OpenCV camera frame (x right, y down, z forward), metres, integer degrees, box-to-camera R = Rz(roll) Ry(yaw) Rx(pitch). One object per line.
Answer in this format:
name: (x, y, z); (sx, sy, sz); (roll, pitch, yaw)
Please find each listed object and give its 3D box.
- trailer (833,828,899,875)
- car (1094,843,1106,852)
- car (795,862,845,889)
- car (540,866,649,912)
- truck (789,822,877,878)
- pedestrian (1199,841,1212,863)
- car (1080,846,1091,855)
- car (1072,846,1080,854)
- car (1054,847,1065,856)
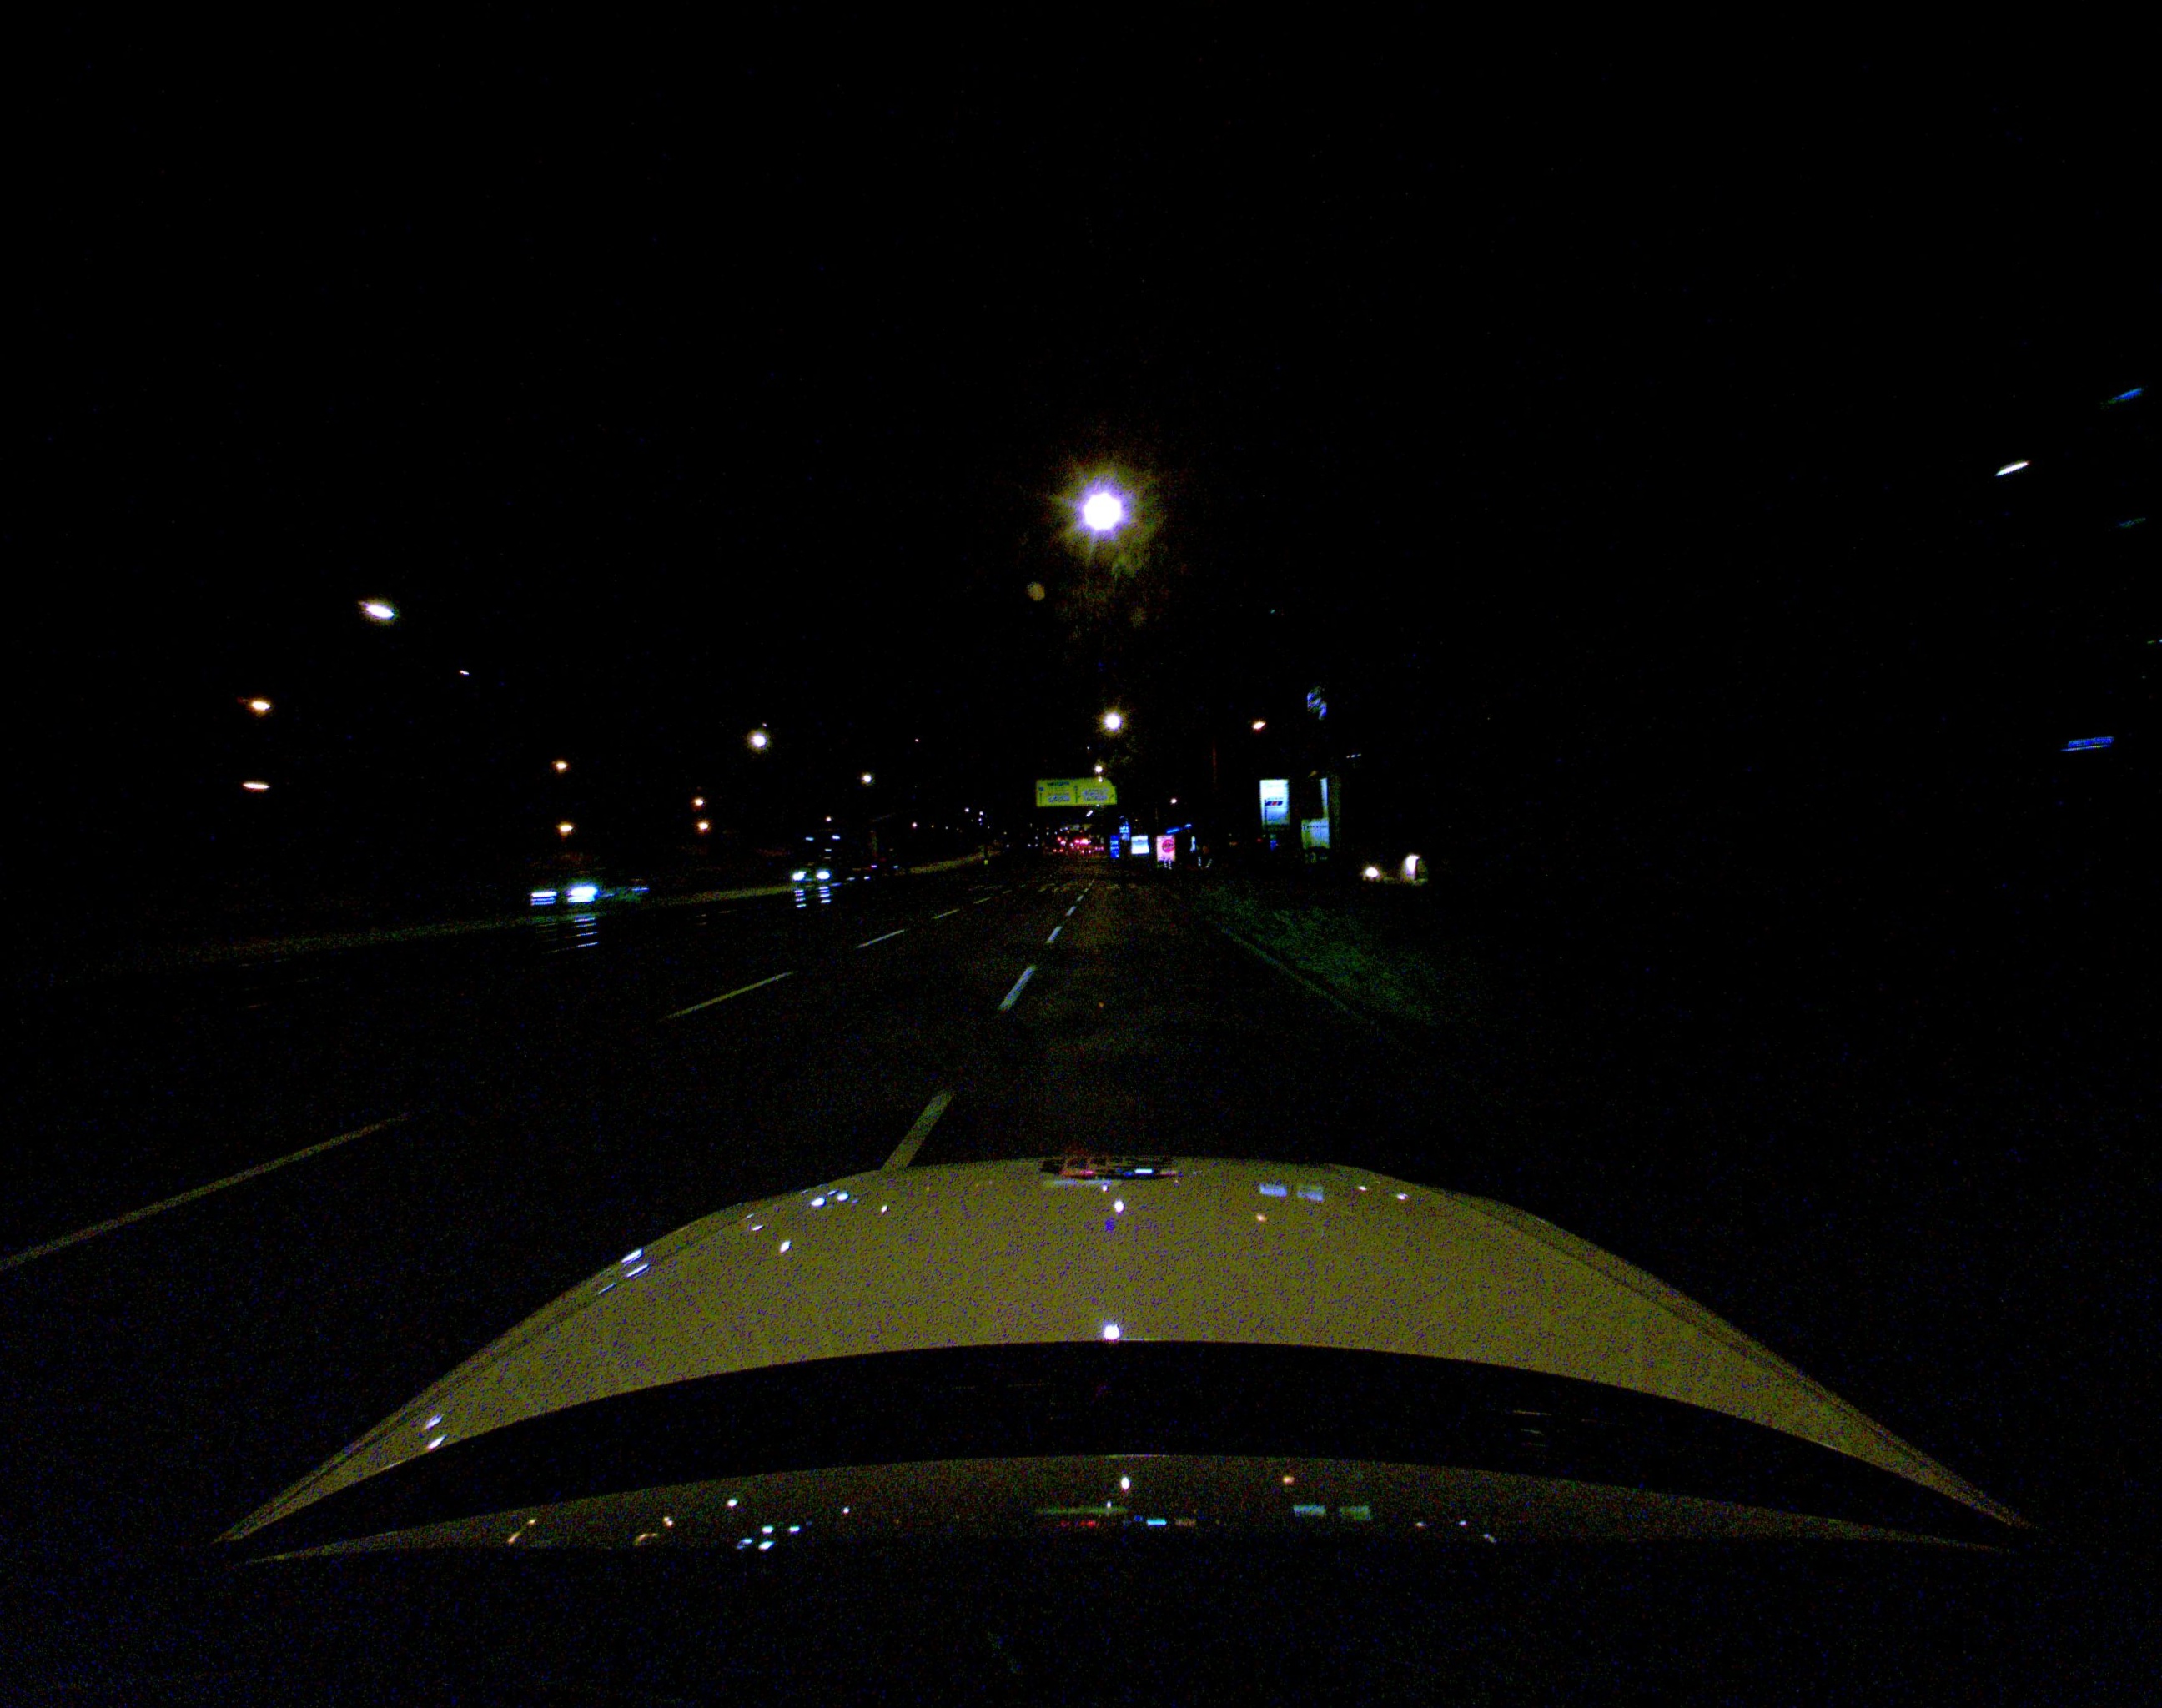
trailer: (-19.104, -0.189, 73.013); (3.684, 3.989, 8.394); (0, 0, 0)
car: (4.440, -1.426, 191.476); (2.641, 2.014, 5.301); (0, 0, 1)
car: (-15.898, 1.292, 49.820); (1.799, 1.499, 4.083); (-2, 0, -1)
car: (-18.690, 1.305, 31.490); (1.719, 1.625, 3.964); (0, 0, 2)
truck: (-19.058, -0.272, 63.513); (3.669, 3.954, 10.418); (0, 0, 0)
pedestrian: (9.848, -0.156, 64.531); (0.850, 1.707, 0.957); (1, -1, 0)
car: (0.842, -0.593, 155.056); (1.961, 1.711, 4.001); (0, 0, 1)
car: (-1.206, -0.984, 192.293); (1.776, 1.711, 4.001); (-1, 0, 1)
car: (-4.188, -0.562, 160.330); (1.961, 1.711, 4.001); (0, 0, 1)
